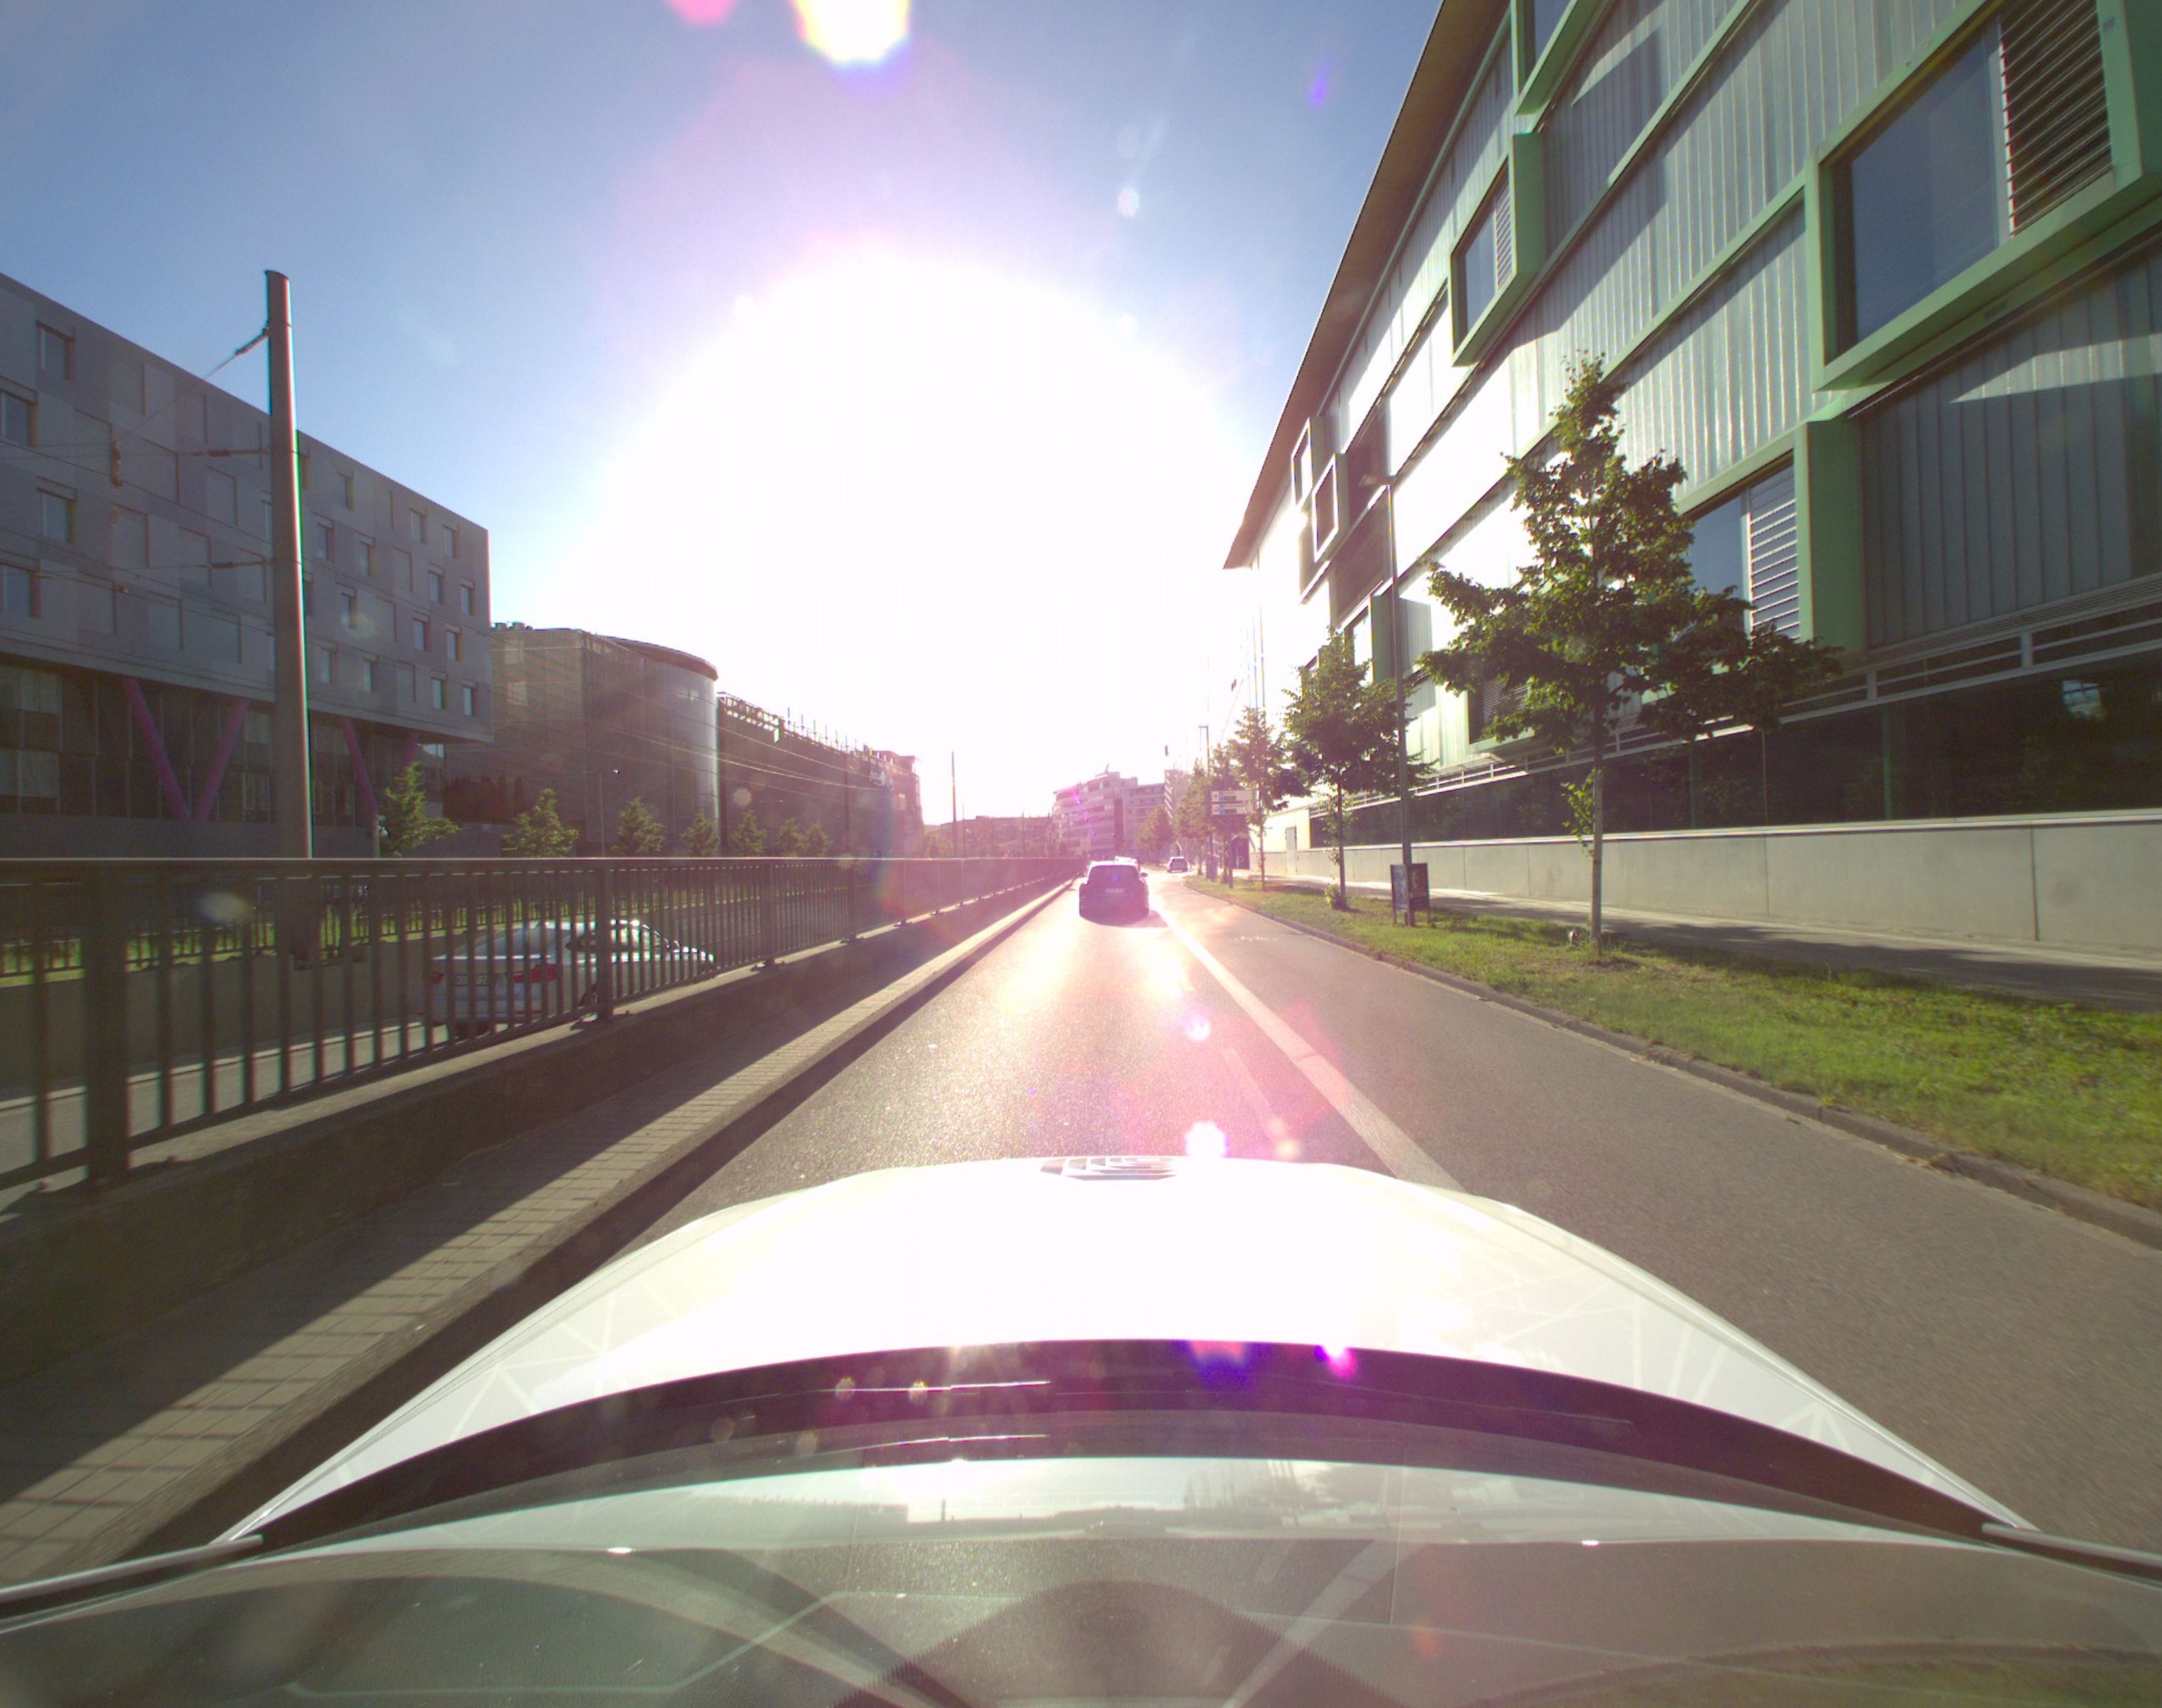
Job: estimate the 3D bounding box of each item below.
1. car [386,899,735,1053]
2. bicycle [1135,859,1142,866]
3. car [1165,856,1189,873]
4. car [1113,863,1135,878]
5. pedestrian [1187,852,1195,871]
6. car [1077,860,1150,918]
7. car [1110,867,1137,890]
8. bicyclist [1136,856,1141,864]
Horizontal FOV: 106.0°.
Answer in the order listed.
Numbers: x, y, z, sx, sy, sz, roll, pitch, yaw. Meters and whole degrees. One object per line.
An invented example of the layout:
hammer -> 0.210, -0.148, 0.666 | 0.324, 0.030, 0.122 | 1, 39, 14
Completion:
car -> -7.158, 1.565, 12.008 | 1.791, 1.527, 4.914 | 0, 0, 3
bicycle -> 10.255, 1.566, 145.479 | 0.723, 1.184, 2.090 | -3, 0, -5
car -> 9.254, 0.990, 78.897 | 1.846, 1.481, 4.855 | -4, 0, 1
car -> 4.651, 1.713, 88.007 | 1.988, 1.465, 3.997 | -1, 1, -2
pedestrian -> 12.300, 0.851, 91.047 | 0.833, 2.013, 0.690 | -3, -1, 2
car -> 0.873, 0.910, 22.966 | 1.806, 1.427, 4.690 | -2, -1, 1
car -> 3.107, 1.798, 59.731 | 1.846, 1.546, 4.001 | 0, 0, 1
bicyclist -> 10.227, 1.138, 145.503 | 0.723, 1.418, 0.890 | -3, -1, -5
